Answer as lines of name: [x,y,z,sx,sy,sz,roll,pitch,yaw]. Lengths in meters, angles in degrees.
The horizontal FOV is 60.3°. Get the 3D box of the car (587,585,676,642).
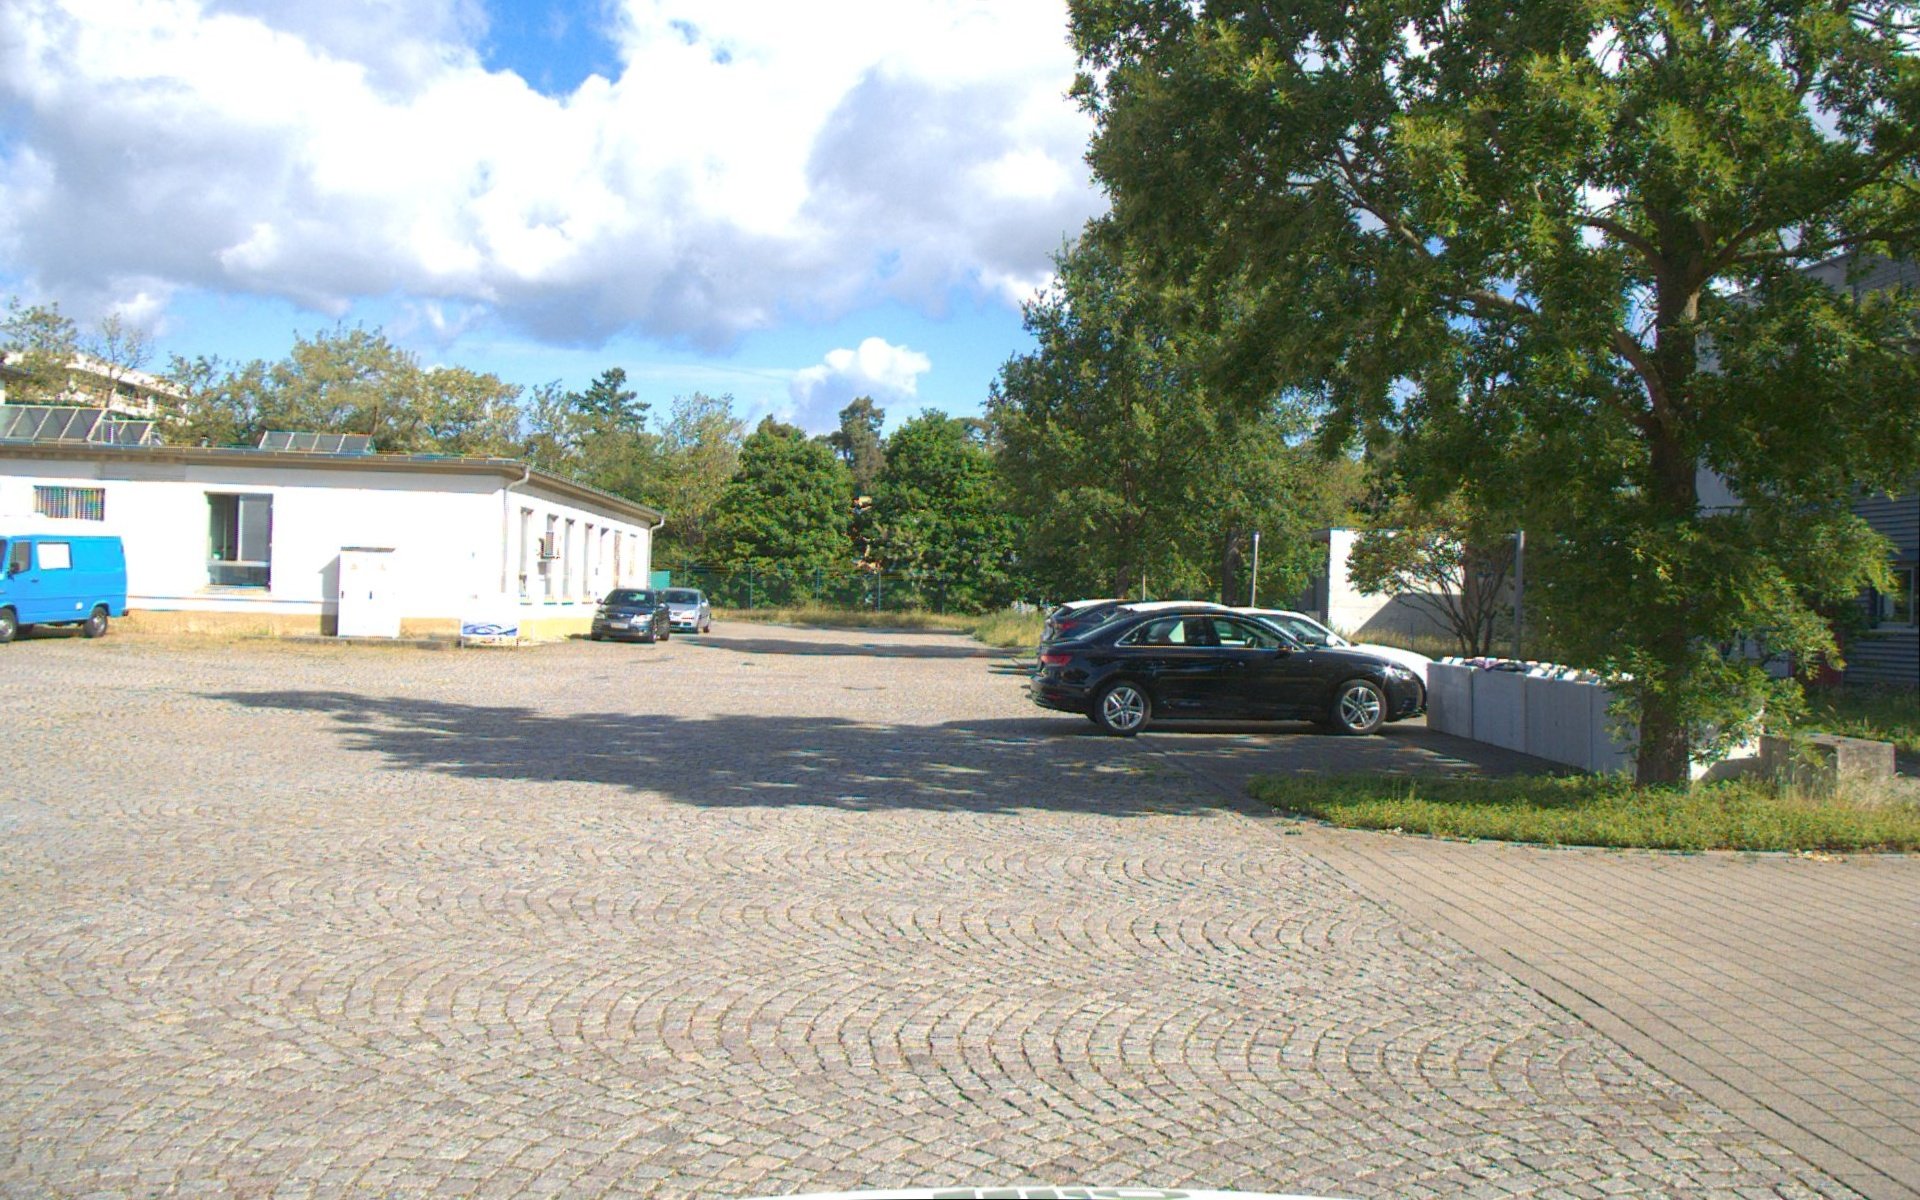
car: [-9.101,0.353,46.091,1.728,1.460,3.991,2,0,-1]

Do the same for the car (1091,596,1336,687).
car: [4.210,0.678,27.877,3.833,1.472,1.755,0,0,-2]

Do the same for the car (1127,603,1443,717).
car: [4.359,0.783,22.657,4.051,1.485,1.692,0,0,3]

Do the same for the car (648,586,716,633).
car: [-9.387,0.314,56.053,1.653,1.460,3.985,2,0,-1]

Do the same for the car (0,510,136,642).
car: [-19.325,-0.484,33.973,2.040,2.526,5.239,1,0,1]

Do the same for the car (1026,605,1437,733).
car: [3.173,0.793,19.875,4.625,1.448,1.756,0,0,-3]

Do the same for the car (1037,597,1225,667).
car: [3.623,0.665,35.497,3.833,1.460,1.795,0,0,-2]

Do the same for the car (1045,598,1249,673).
car: [3.671,0.689,32.844,3.833,1.442,1.692,0,0,-2]
